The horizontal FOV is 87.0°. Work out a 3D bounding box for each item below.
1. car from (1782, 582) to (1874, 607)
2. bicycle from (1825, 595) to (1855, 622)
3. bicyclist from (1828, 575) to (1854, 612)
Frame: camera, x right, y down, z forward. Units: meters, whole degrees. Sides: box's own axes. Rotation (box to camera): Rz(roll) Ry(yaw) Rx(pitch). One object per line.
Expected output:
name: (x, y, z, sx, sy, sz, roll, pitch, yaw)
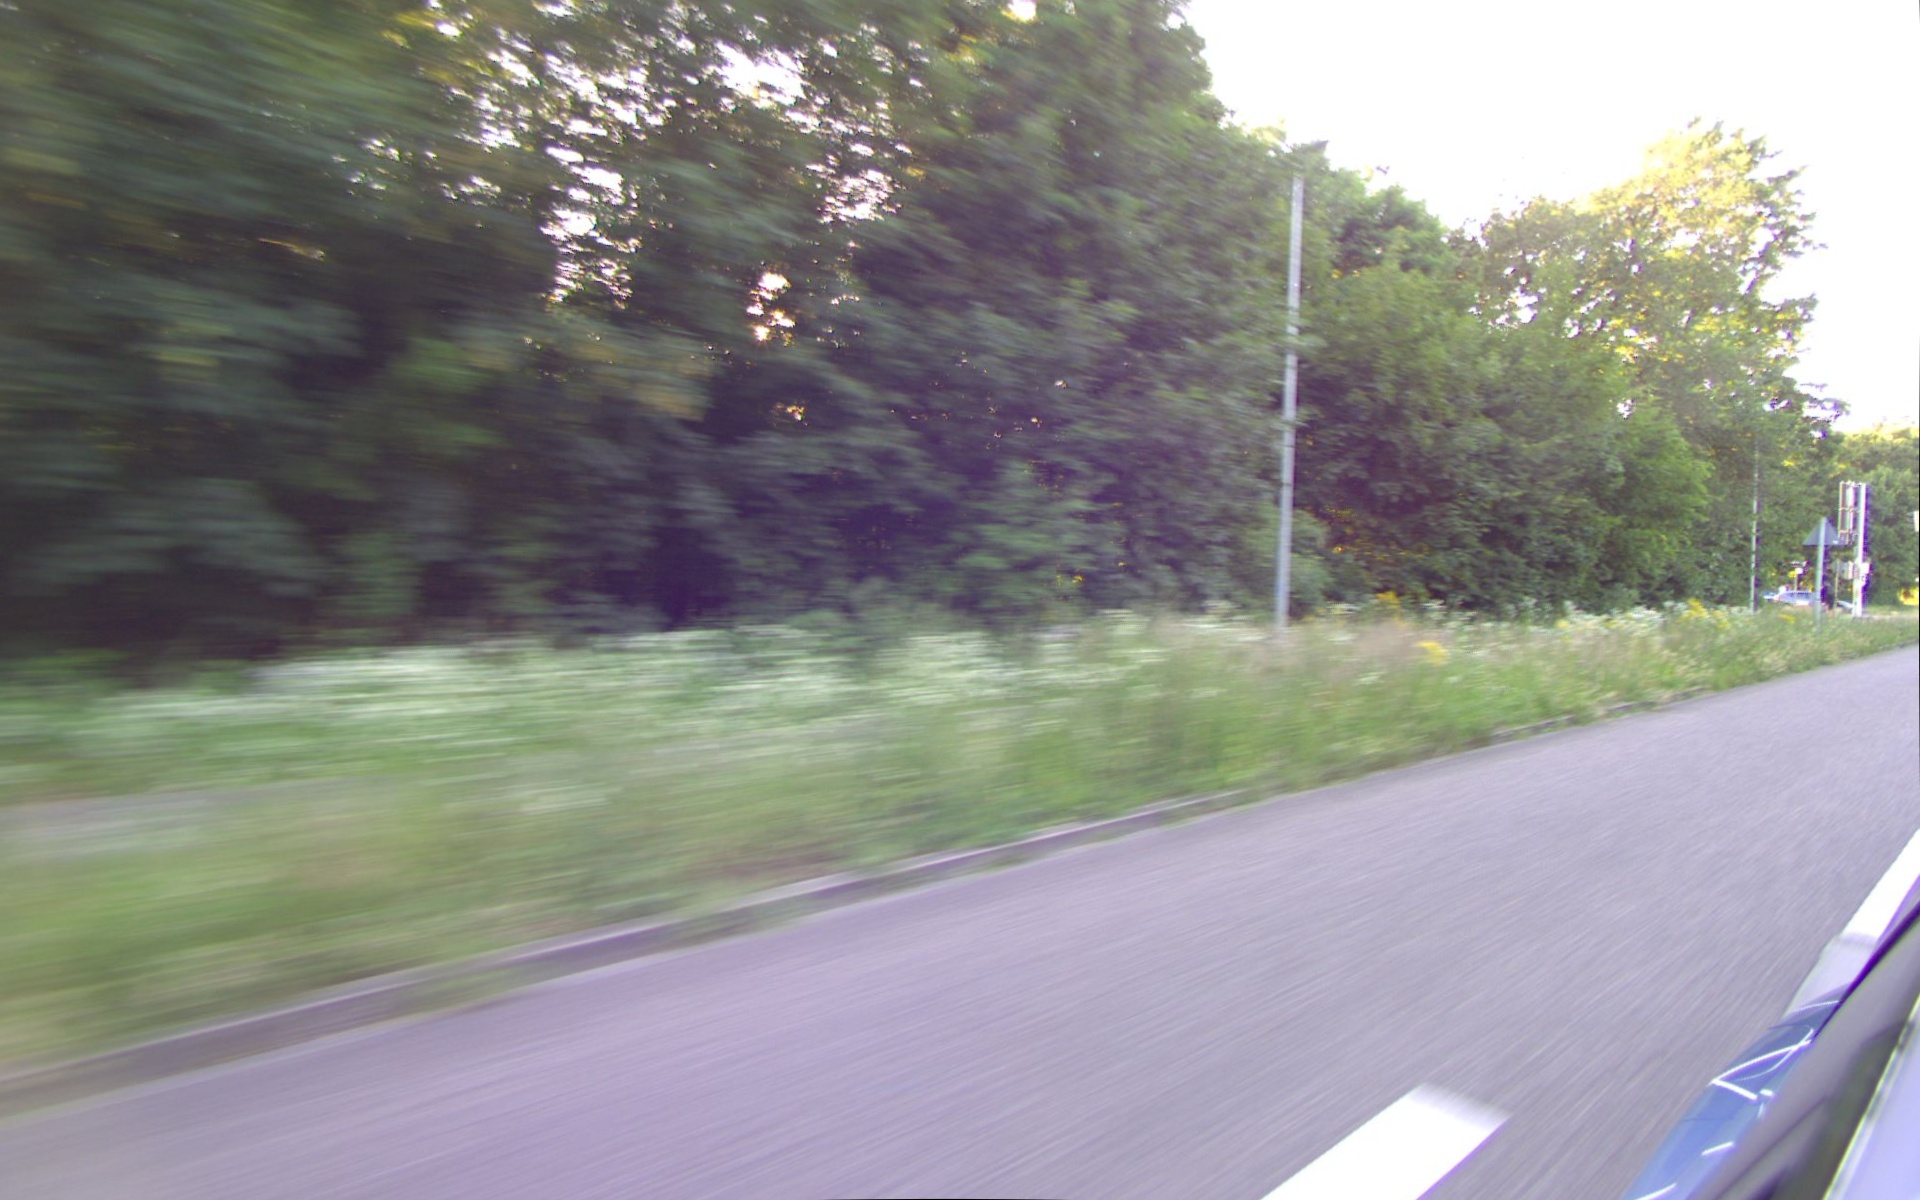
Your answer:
car: (55.104, -0.372, 64.339, 4.038, 1.422, 1.855, 2, 4, 28)
bicycle: (35.618, 0.333, 40.959, 1.661, 1.008, 0.612, -1, 3, -39)
bicyclist: (35.540, -0.265, 40.833, 0.766, 1.473, 0.605, 0, 2, -39)
